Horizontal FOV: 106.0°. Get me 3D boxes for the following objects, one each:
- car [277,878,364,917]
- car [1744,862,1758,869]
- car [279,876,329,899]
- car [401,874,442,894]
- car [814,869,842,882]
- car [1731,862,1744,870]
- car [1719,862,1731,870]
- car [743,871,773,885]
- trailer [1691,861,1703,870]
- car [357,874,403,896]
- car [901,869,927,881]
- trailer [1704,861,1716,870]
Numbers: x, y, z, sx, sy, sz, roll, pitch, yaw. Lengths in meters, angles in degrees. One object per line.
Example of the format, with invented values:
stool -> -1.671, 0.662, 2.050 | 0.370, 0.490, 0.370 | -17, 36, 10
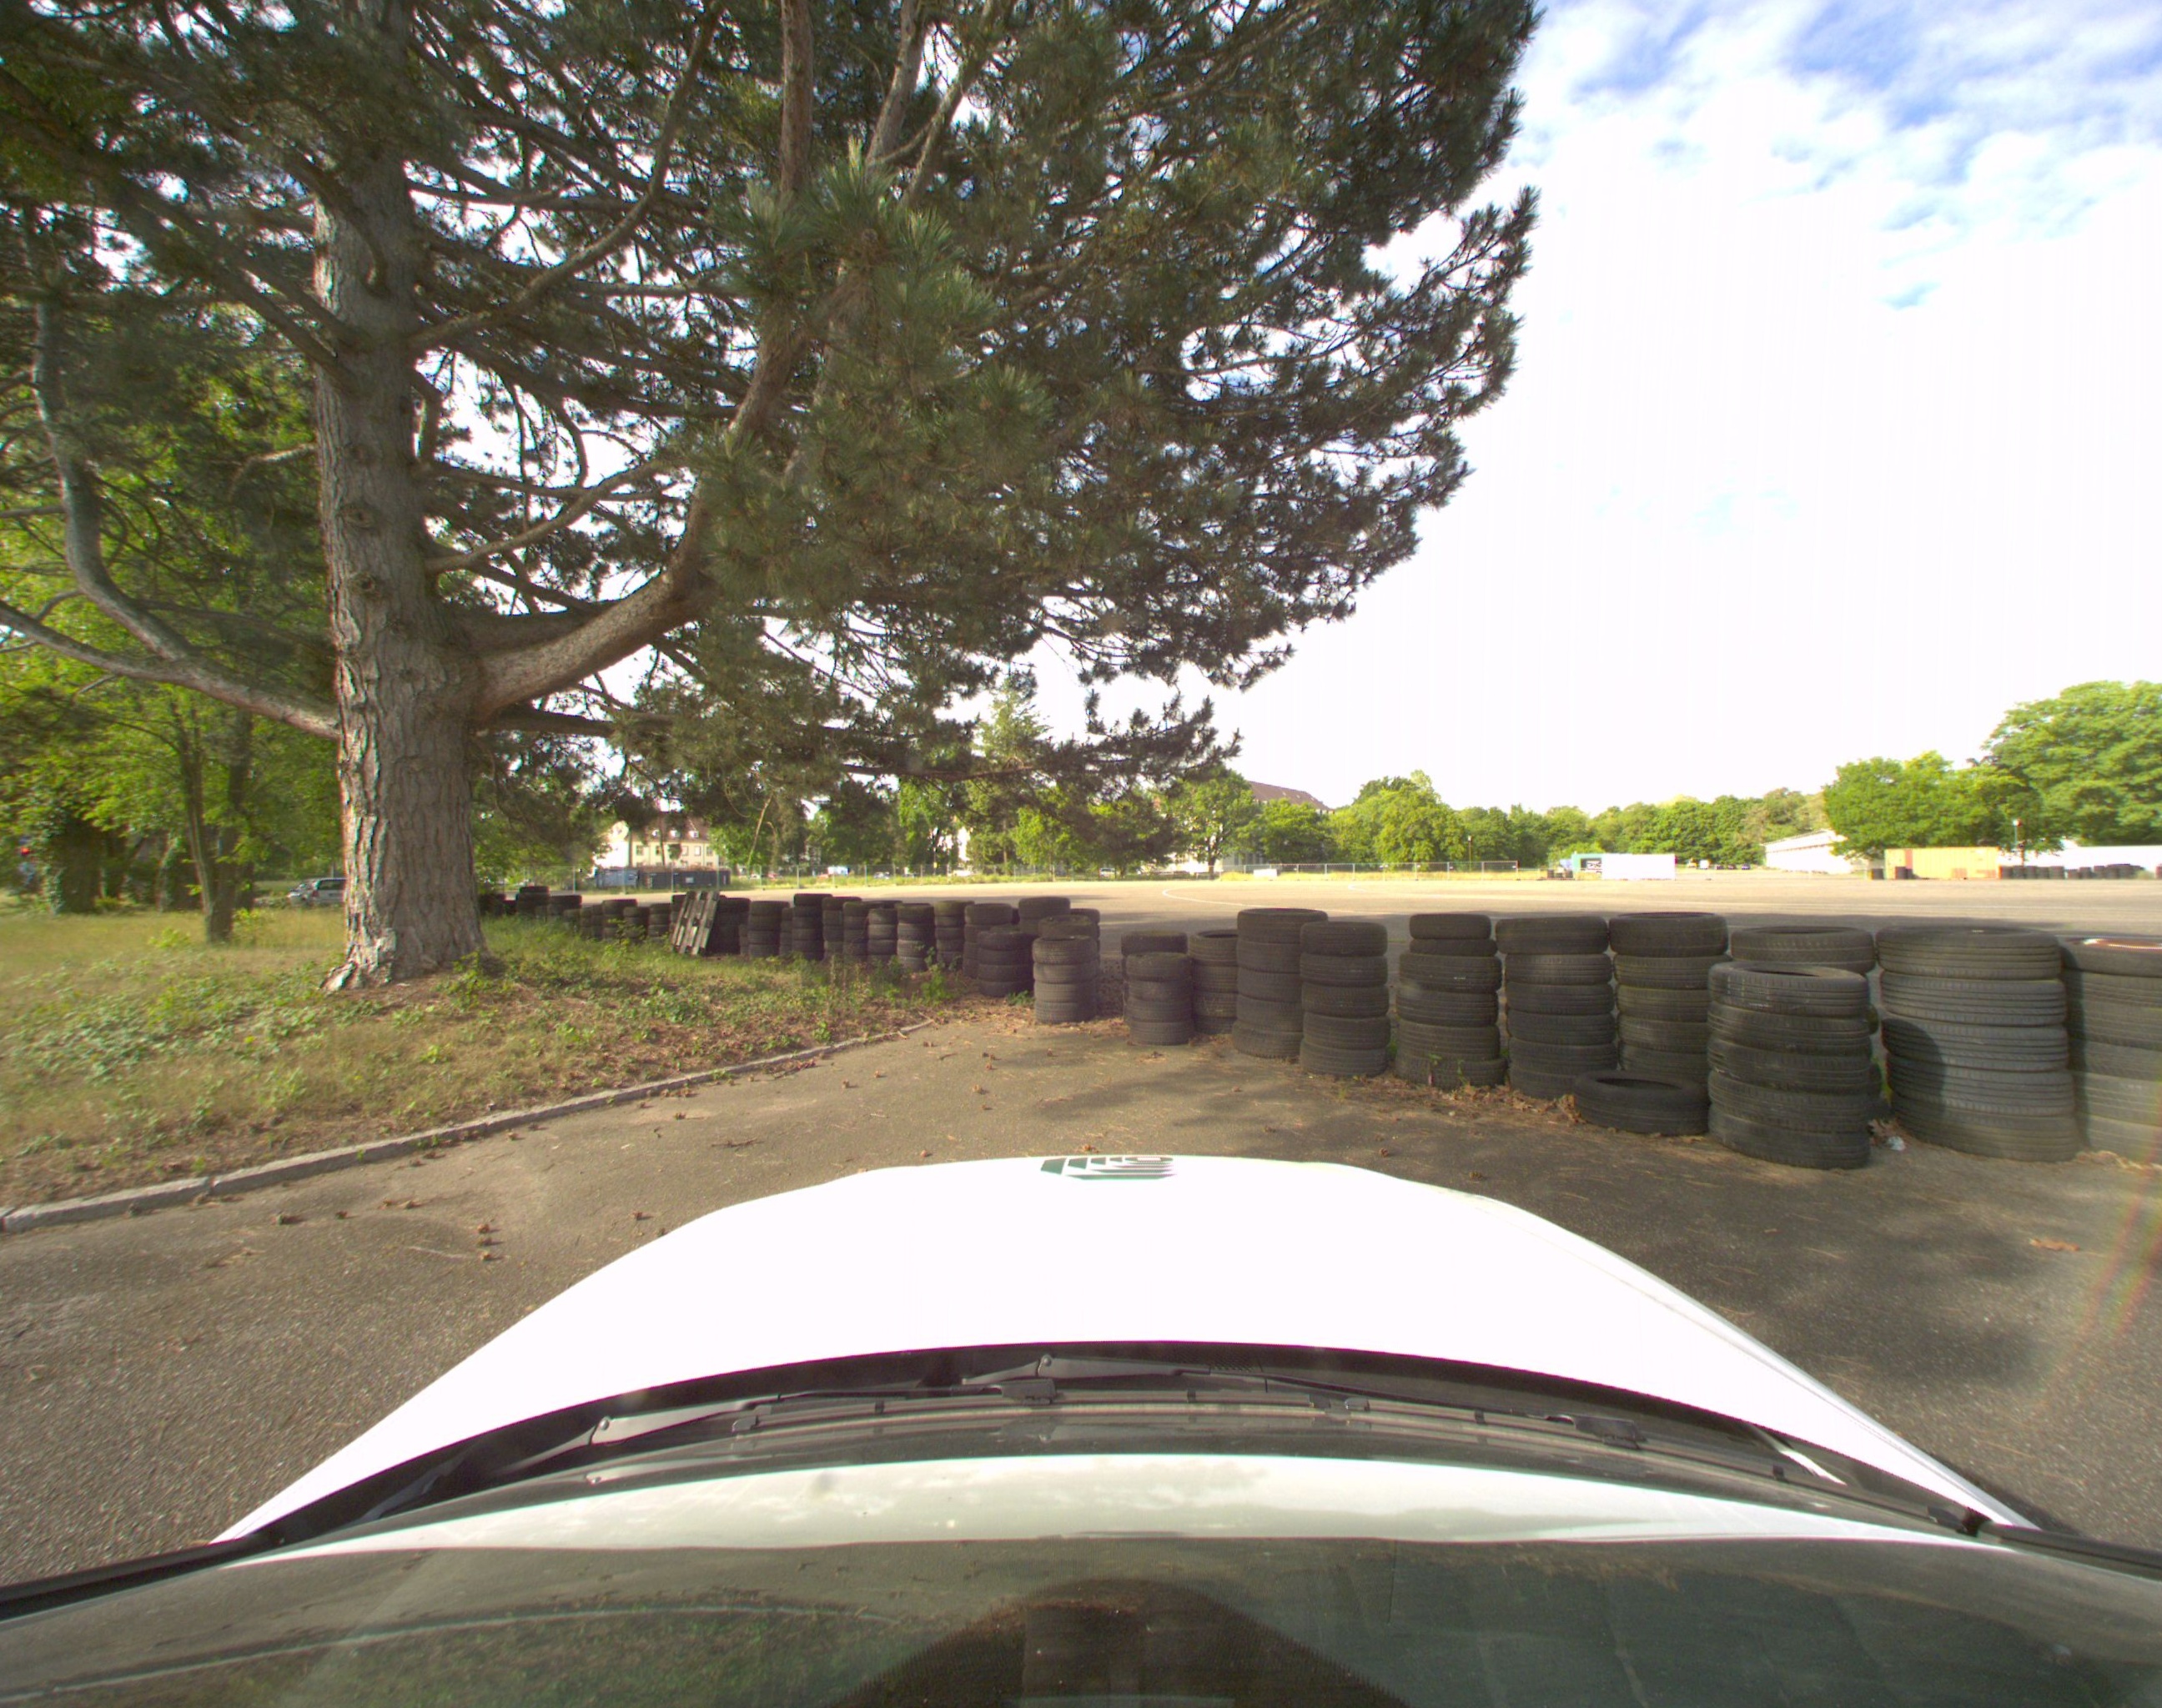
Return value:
car -> -32.231, 1.805, 34.494 | 3.948, 1.541, 1.904 | -2, -2, 35
car -> 157.013, 2.661, 190.866 | 1.974, 1.750, 4.025 | -1, -1, 33
car -> -57.150, 2.449, 59.901 | 3.948, 1.618, 2.013 | -2, -1, 37
car -> -54.312, 2.465, 67.067 | 3.948, 1.618, 1.838 | -2, -1, 39
car -> -34.689, 2.940, 111.683 | 3.949, 1.750, 2.012 | -2, -2, 43
car -> 154.981, 2.811, 192.343 | 2.011, 1.809, 4.025 | -2, -1, 33
car -> 153.054, 2.889, 193.513 | 1.974, 1.750, 4.025 | -1, -1, 33
car -> -41.089, 3.002, 103.530 | 3.949, 1.750, 2.012 | -2, -2, 42
trailer -> 150.545, 2.850, 199.055 | 1.974, 2.014, 4.025 | -1, -1, 34
car -> -55.745, 2.439, 64.738 | 3.948, 1.618, 2.013 | -2, -1, 37
car -> -25.436, 3.224, 123.909 | 2.011, 1.750, 3.951 | 0, -2, -43
trailer -> 151.727, 2.832, 196.526 | 2.038, 2.014, 4.025 | -1, -1, 35
